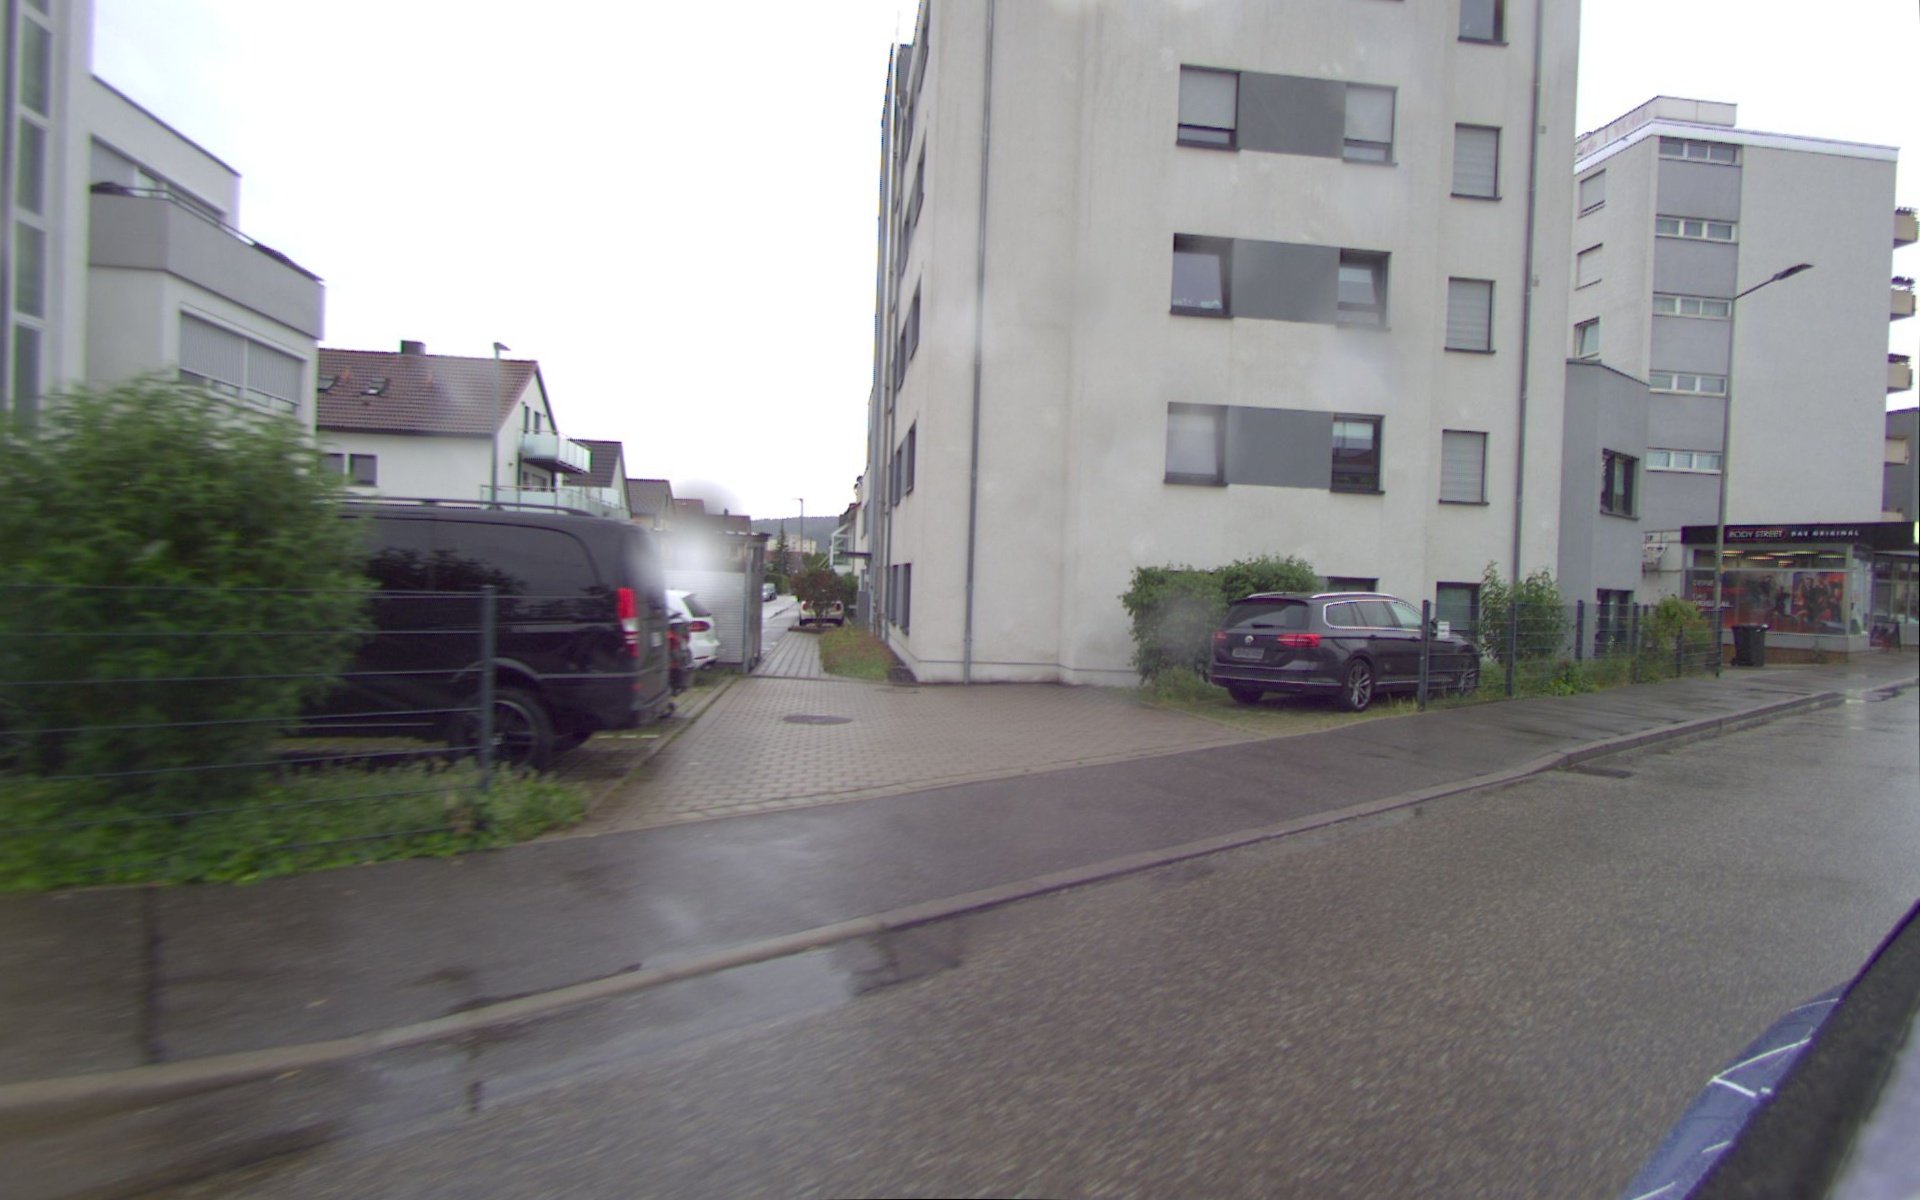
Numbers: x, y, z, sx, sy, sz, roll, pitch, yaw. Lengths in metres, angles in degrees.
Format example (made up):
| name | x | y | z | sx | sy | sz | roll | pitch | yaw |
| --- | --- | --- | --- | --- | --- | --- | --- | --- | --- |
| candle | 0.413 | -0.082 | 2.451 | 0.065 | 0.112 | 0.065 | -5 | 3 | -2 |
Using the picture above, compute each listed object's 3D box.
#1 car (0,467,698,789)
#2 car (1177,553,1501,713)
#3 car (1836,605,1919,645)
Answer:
| name | x | y | z | sx | sy | sz | roll | pitch | yaw |
| --- | --- | --- | --- | --- | --- | --- | --- | --- | --- |
| car | -4.561 | 0.187 | 7.699 | 4.683 | 2.039 | 2.003 | 2 | 1 | -6 |
| car | 5.243 | 0.359 | 13.711 | 4.605 | 1.807 | 1.999 | 1 | 1 | -39 |
| car | 38.859 | 1.043 | 41.383 | 1.834 | 1.513 | 4.279 | 3 | 0 | -12 |
